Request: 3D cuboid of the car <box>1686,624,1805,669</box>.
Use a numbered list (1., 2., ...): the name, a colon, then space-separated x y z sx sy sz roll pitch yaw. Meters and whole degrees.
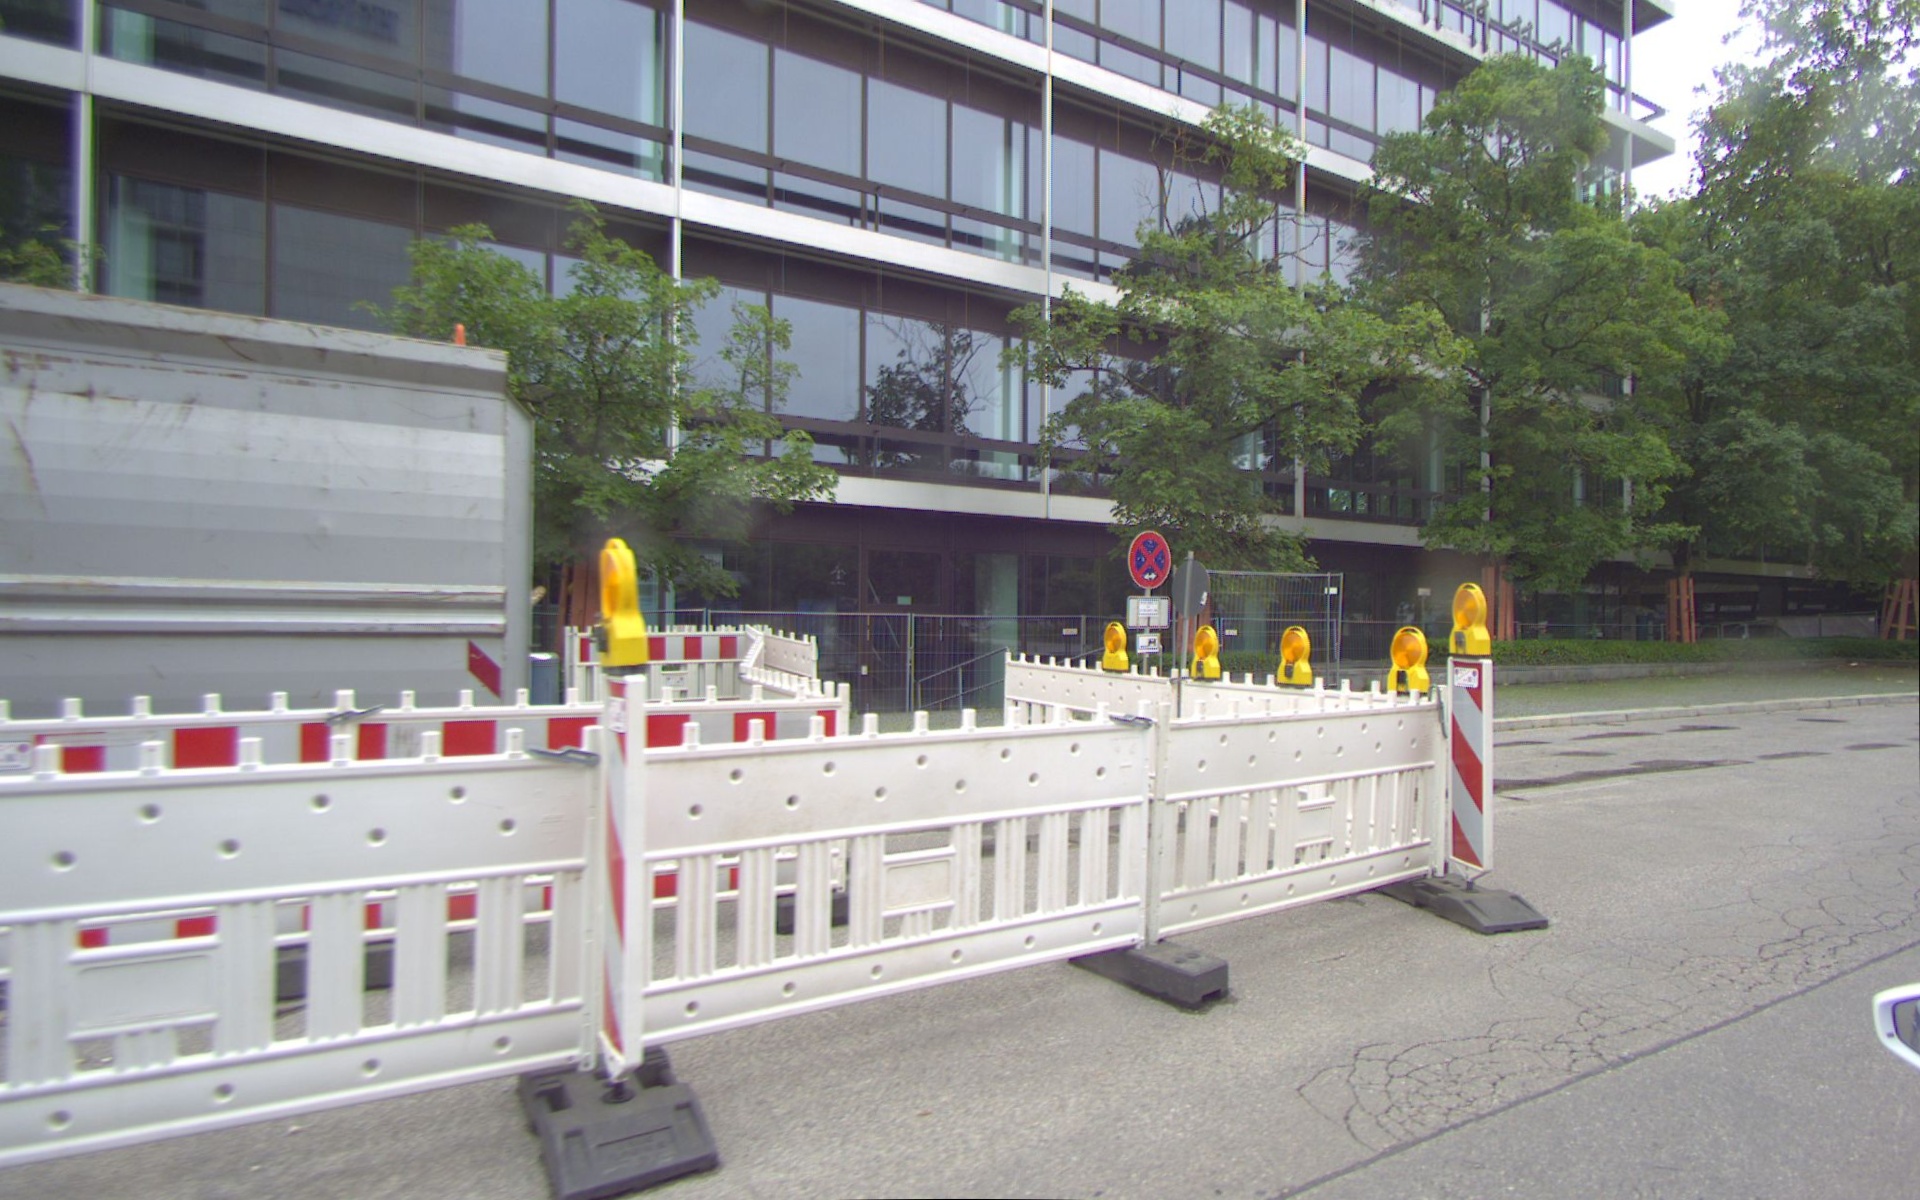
1. car: 27.297 1.580 34.887 3.812 1.493 1.899 1 -1 -28
